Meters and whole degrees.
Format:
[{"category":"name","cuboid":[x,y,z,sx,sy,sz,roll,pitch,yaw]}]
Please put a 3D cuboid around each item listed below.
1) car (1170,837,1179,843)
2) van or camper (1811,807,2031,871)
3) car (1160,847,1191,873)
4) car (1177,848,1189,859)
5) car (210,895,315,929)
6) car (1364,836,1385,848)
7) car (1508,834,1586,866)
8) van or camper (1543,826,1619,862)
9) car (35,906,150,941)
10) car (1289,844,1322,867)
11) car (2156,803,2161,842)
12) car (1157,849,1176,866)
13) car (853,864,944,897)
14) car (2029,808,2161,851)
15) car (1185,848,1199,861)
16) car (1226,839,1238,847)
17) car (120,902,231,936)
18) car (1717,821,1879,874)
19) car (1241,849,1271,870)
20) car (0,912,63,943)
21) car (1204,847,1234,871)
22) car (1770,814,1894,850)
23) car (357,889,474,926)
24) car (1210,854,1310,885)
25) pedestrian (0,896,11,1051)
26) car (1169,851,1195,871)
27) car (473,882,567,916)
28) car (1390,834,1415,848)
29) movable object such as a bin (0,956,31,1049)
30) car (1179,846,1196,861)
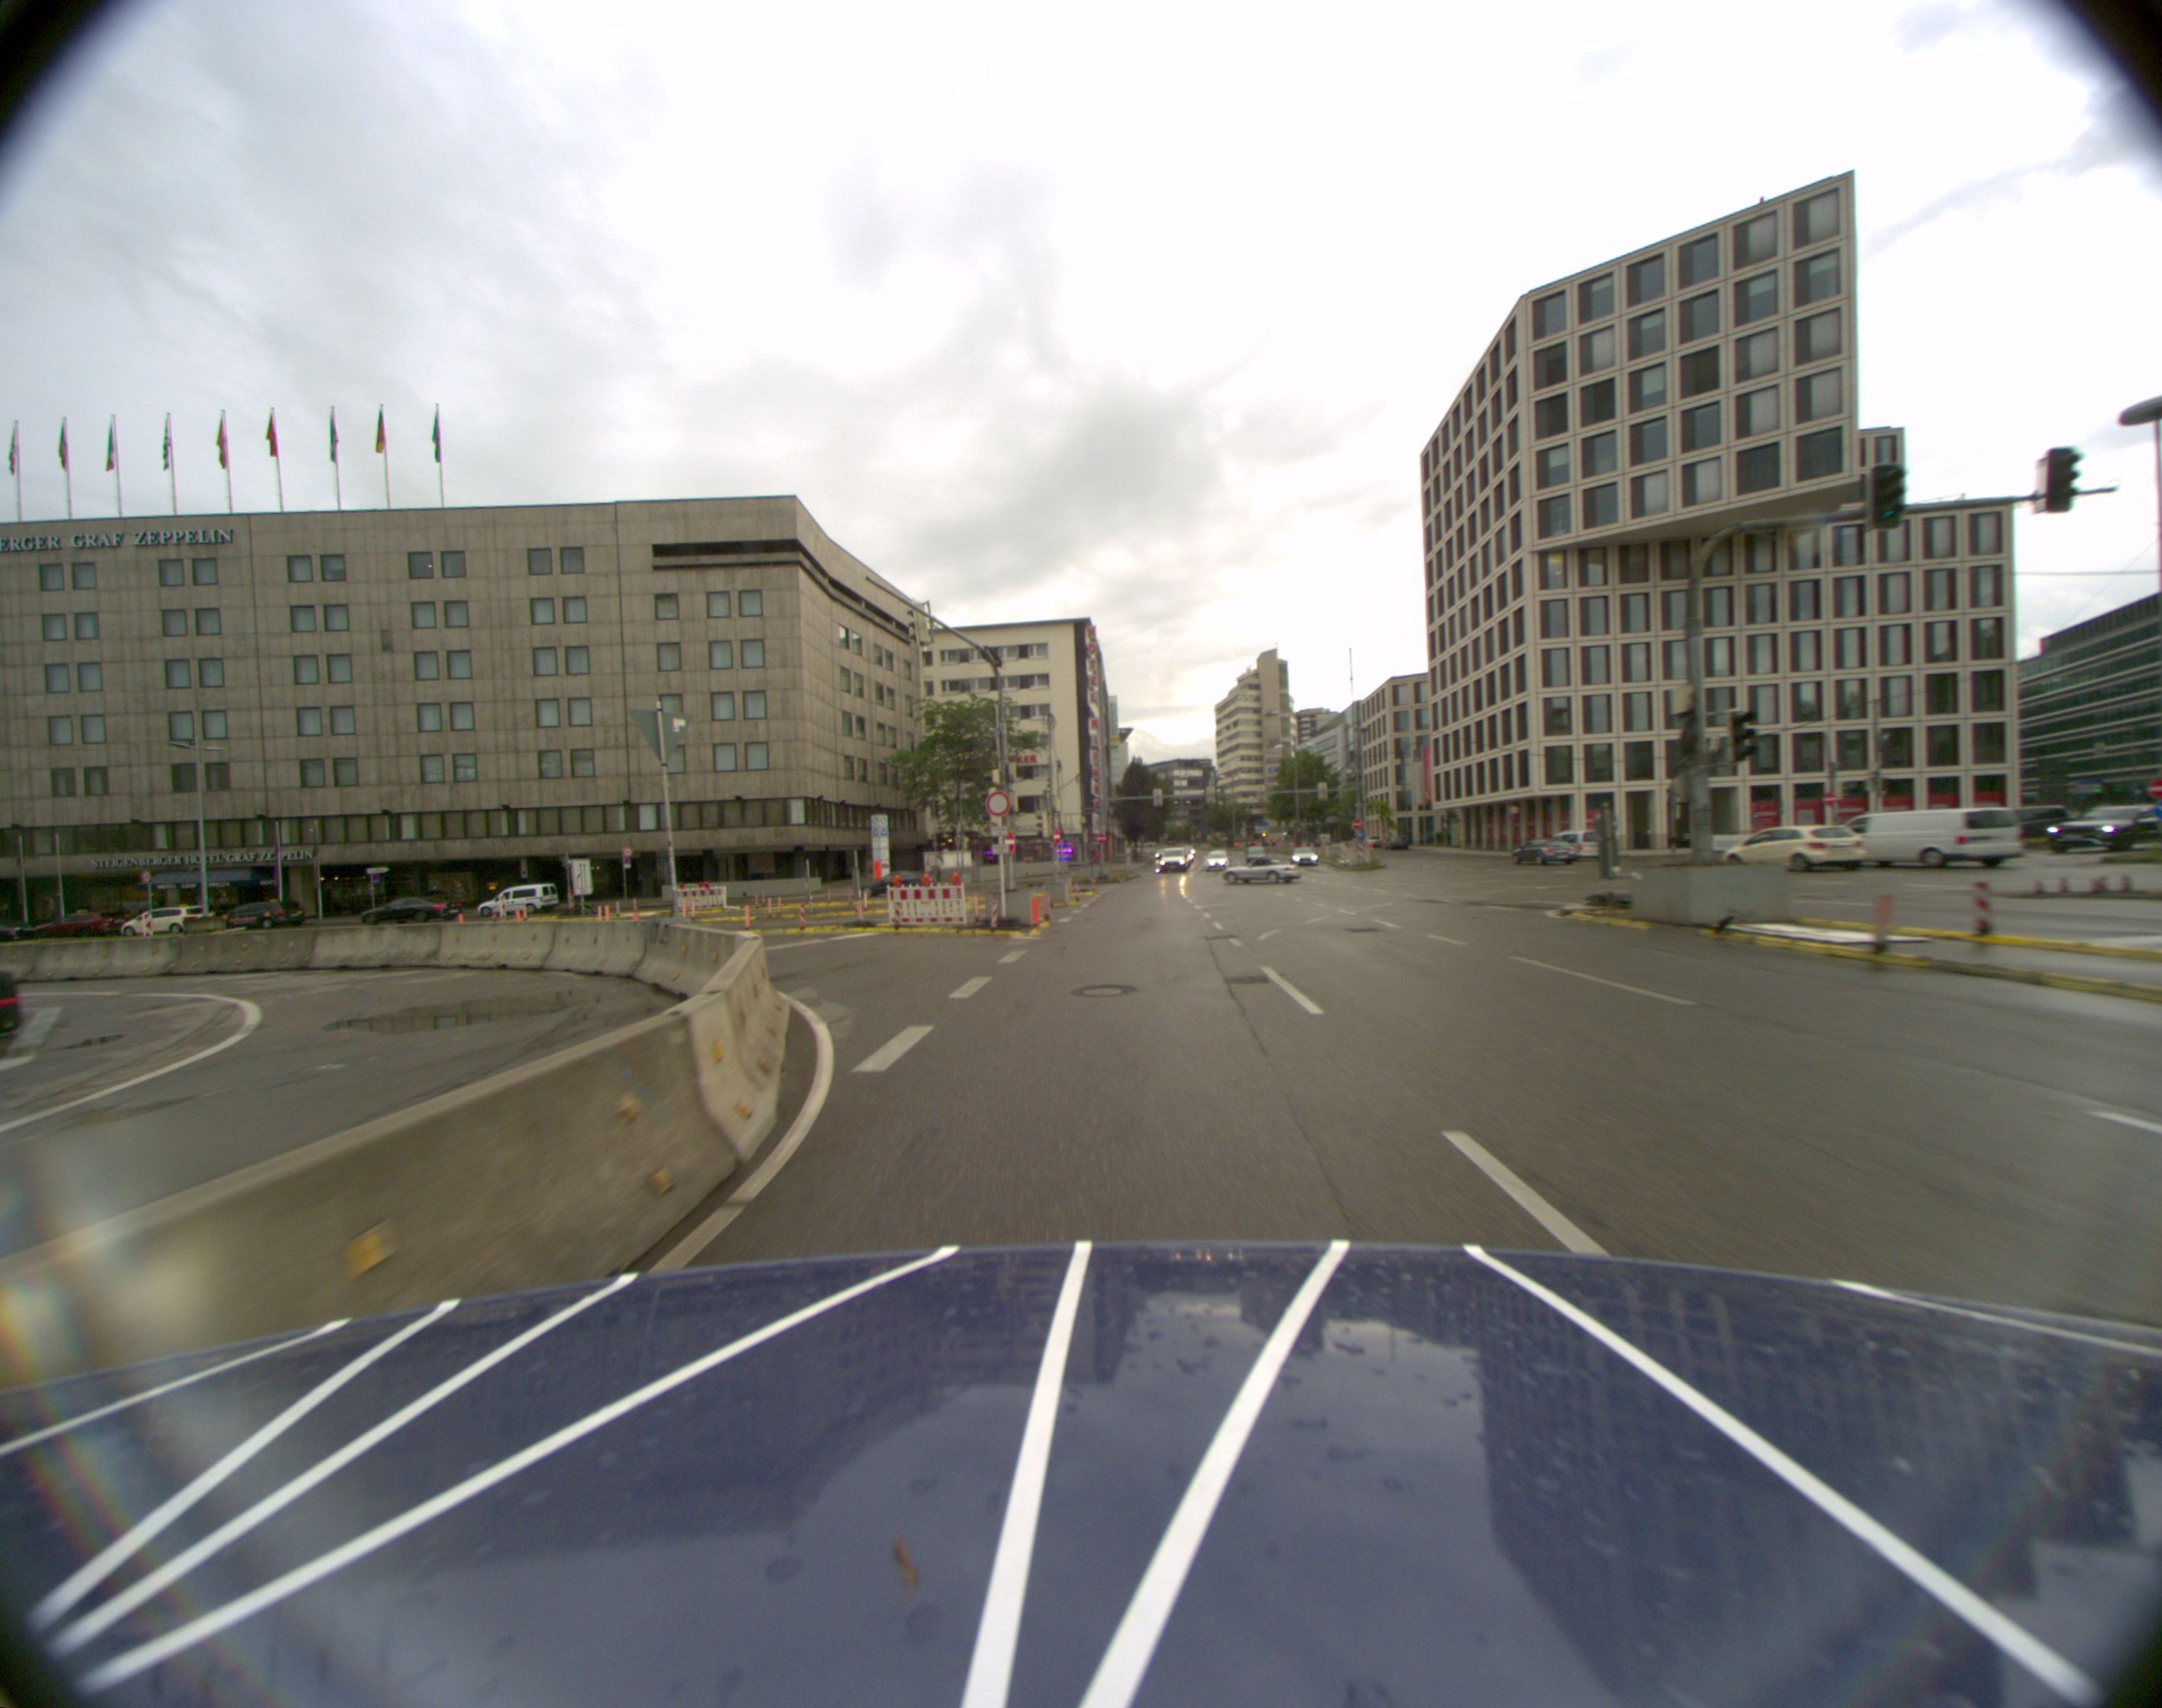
[{"category":"car","cuboid":[30.097,-4.438,243.544,1.851,1.589,4.178,-3,0,-6]},{"category":"van or camper","cuboid":[28.559,-0.464,26.164,1.886,1.883,5.213,-3,0,3]},{"category":"car","cuboid":[7.562,0.442,60.400,2.084,1.893,5.089,-3,0,10]},{"category":"car","cuboid":[15.387,-0.076,114.788,1.670,1.475,3.487,-3,0,7]},{"category":"car","cuboid":[-50.532,3.546,46.954,4.510,1.718,1.822,-3,0,2]},{"category":"car","cuboid":[38.520,-1.560,99.884,1.864,1.513,4.003,-3,0,11]},{"category":"car","cuboid":[26.089,-0.209,42.702,1.849,1.589,4.181,-3,0,2]},{"category":"van or camper","cuboid":[30.008,-0.598,45.785,1.849,1.967,4.256,-3,0,2]},{"category":"car","cuboid":[-61.214,4.264,47.099,4.642,1.757,1.908,-3,0,2]},{"category":"car","cuboid":[17.160,0.051,58.190,2.015,1.589,4.667,-3,0,13]},{"category":"car","cuboid":[49.010,-1.473,31.947,3.990,1.718,1.741,-3,0,29]},{"category":"car","cuboid":[10.817,0.391,95.719,1.921,2.002,4.003,-3,0,11]},{"category":"car","cuboid":[-10.394,1.496,43.561,4.660,1.589,2.018,-3,0,-1]},{"category":"car","cuboid":[40.553,-0.958,30.084,3.998,1.477,1.835,-3,0,-5]},{"category":"car","cuboid":[14.383,0.076,98.621,1.670,1.475,3.487,-3,0,7]},{"category":"car","cuboid":[32.097,-2.327,161.254,1.849,1.589,4.181,-3,0,2]},{"category":"car","cuboid":[-55.899,3.991,46.940,4.574,1.688,1.822,-3,0,0]},{"category":"car","cuboid":[25.540,-0.228,27.317,1.846,1.663,4.381,-3,0,4]},{"category":"car","cuboid":[14.674,0.474,64.036,2.015,1.589,4.666,-3,0,8]},{"category":"car","cuboid":[-66.799,4.668,47.159,4.613,1.650,1.909,-3,1,0]},{"category":"car","cuboid":[10.673,0.353,58.919,2.015,1.728,4.666,-3,0,8]},{"category":"car","cuboid":[43.250,-1.254,43.860,4.808,1.743,2.230,-3,0,3]},{"category":"car","cuboid":[-35.950,2.880,41.145,4.658,1.589,2.019,-3,0,5]},{"category":"car","cuboid":[8.730,0.776,37.353,4.518,1.302,1.646,-3,0,45]},{"category":"pedestrian","cuboid":[-12.689,1.335,8.265,1.004,1.854,0.777,-4,1,-44]},{"category":"car","cuboid":[8.929,0.567,67.493,2.016,1.589,4.665,-3,0,6]},{"category":"car","cuboid":[-34.668,2.742,47.001,4.368,1.752,1.780,-3,0,0]},{"category":"car","cuboid":[37.254,-1.517,88.117,1.864,1.513,4.004,-3,0,13]},{"category":"movable object such as a bin","cuboid":[-12.495,1.718,8.692,0.433,1.010,0.521,-4,1,-44]},{"category":"car","cuboid":[11.148,-0.065,79.496,1.670,1.475,3.487,-3,0,7]}]
